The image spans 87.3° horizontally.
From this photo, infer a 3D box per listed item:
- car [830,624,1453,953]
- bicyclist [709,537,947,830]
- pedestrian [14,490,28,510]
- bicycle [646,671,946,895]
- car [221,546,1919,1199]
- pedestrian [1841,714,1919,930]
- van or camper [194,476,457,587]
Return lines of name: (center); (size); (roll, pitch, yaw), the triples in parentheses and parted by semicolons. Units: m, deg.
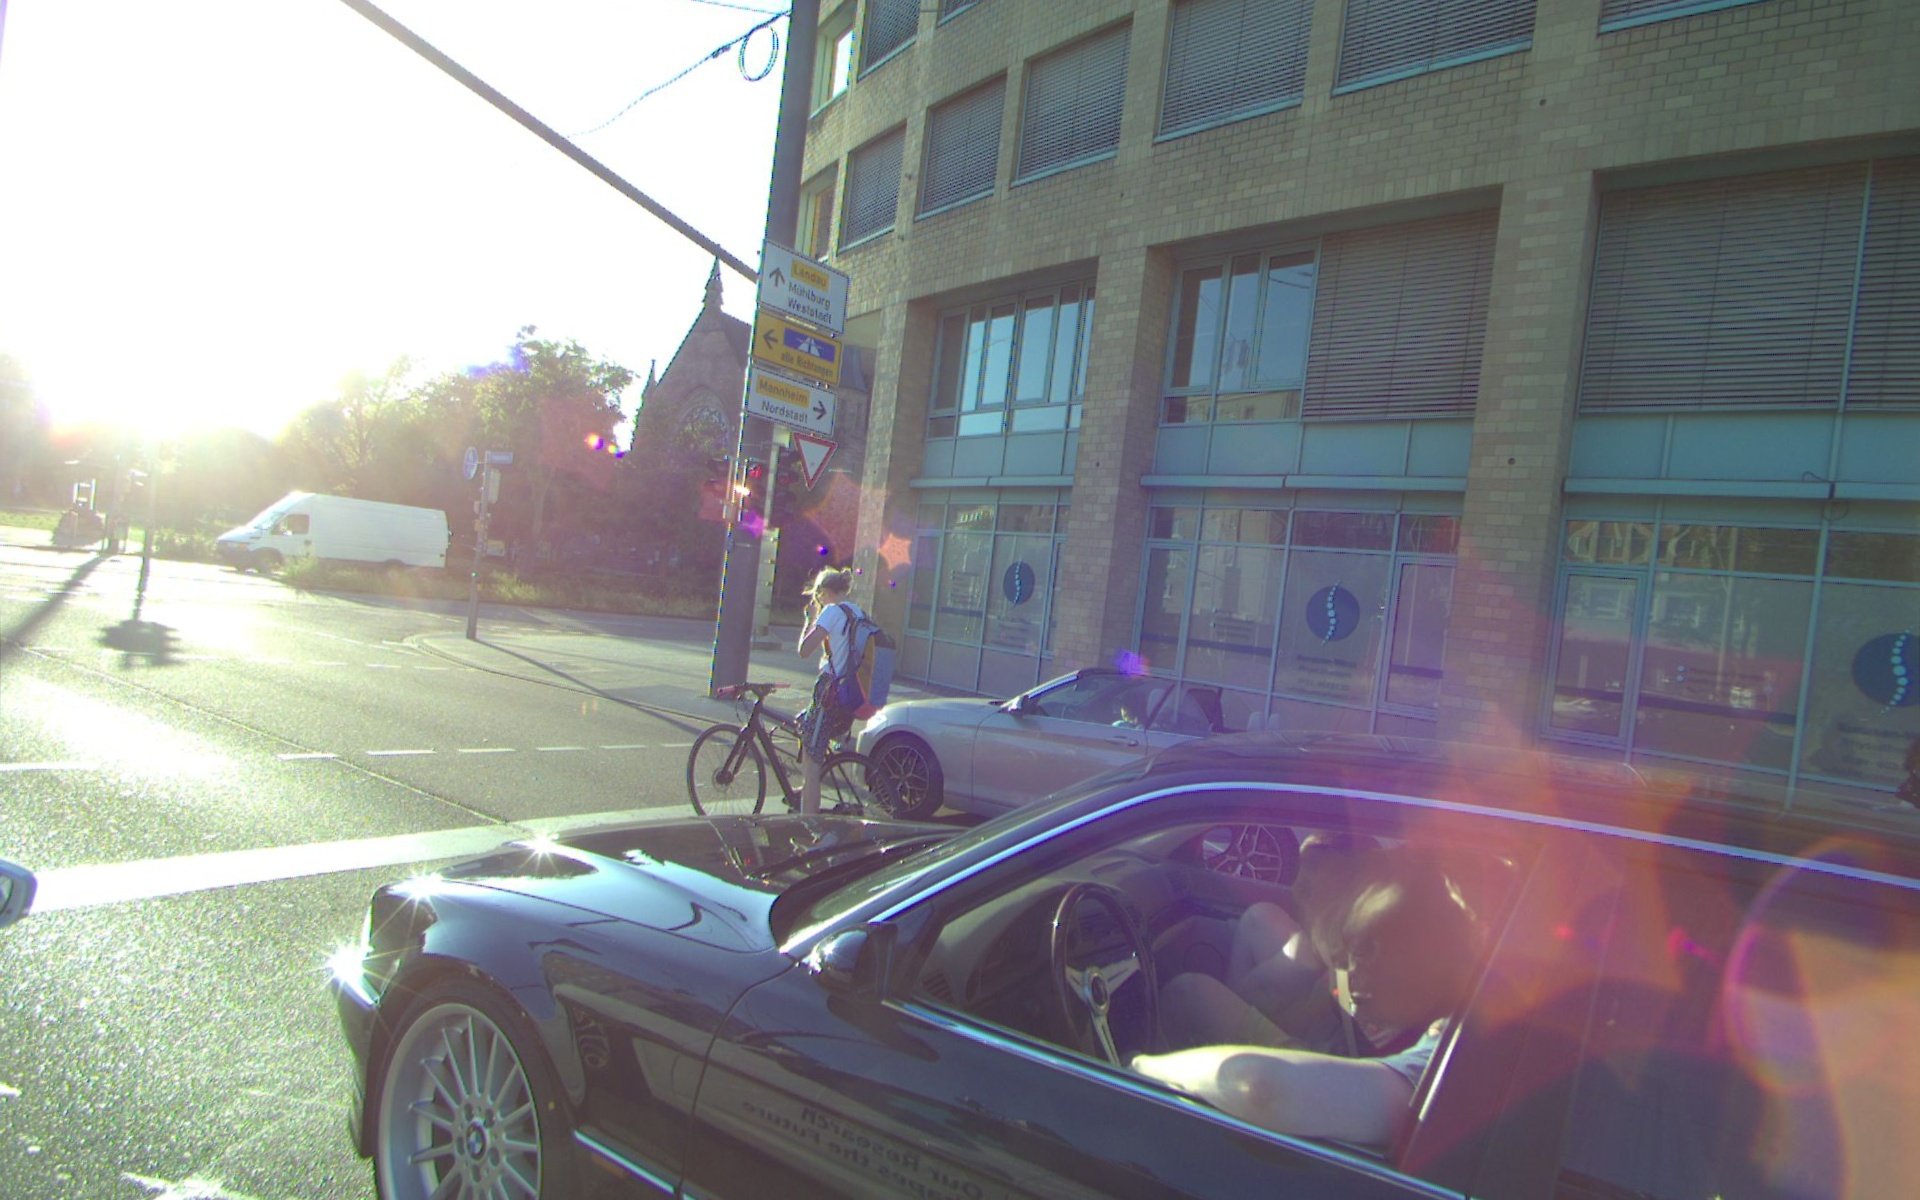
car: (1.280, 1.190, 7.662); (4.195, 1.370, 1.786); (8, 0, 31)
bicyclist: (-0.767, 0.462, 5.898); (1.020, 1.501, 0.657); (7, -1, 29)
pedestrian: (-83.890, -8.941, 89.876); (0.795, 1.722, 0.790); (6, 1, -44)
bicycle: (-1.017, 1.032, 6.027); (1.745, 0.966, 0.516); (7, -1, 31)
car: (0.776, 0.903, 1.939); (4.563, 1.370, 1.833); (8, 0, 31)
pedestrian: (7.700, 1.773, 7.948); (0.786, 1.589, 0.678); (9, 2, 29)
van or camper: (-21.487, -2.230, 34.512); (2.556, 2.708, 7.048); (9, 1, 33)
